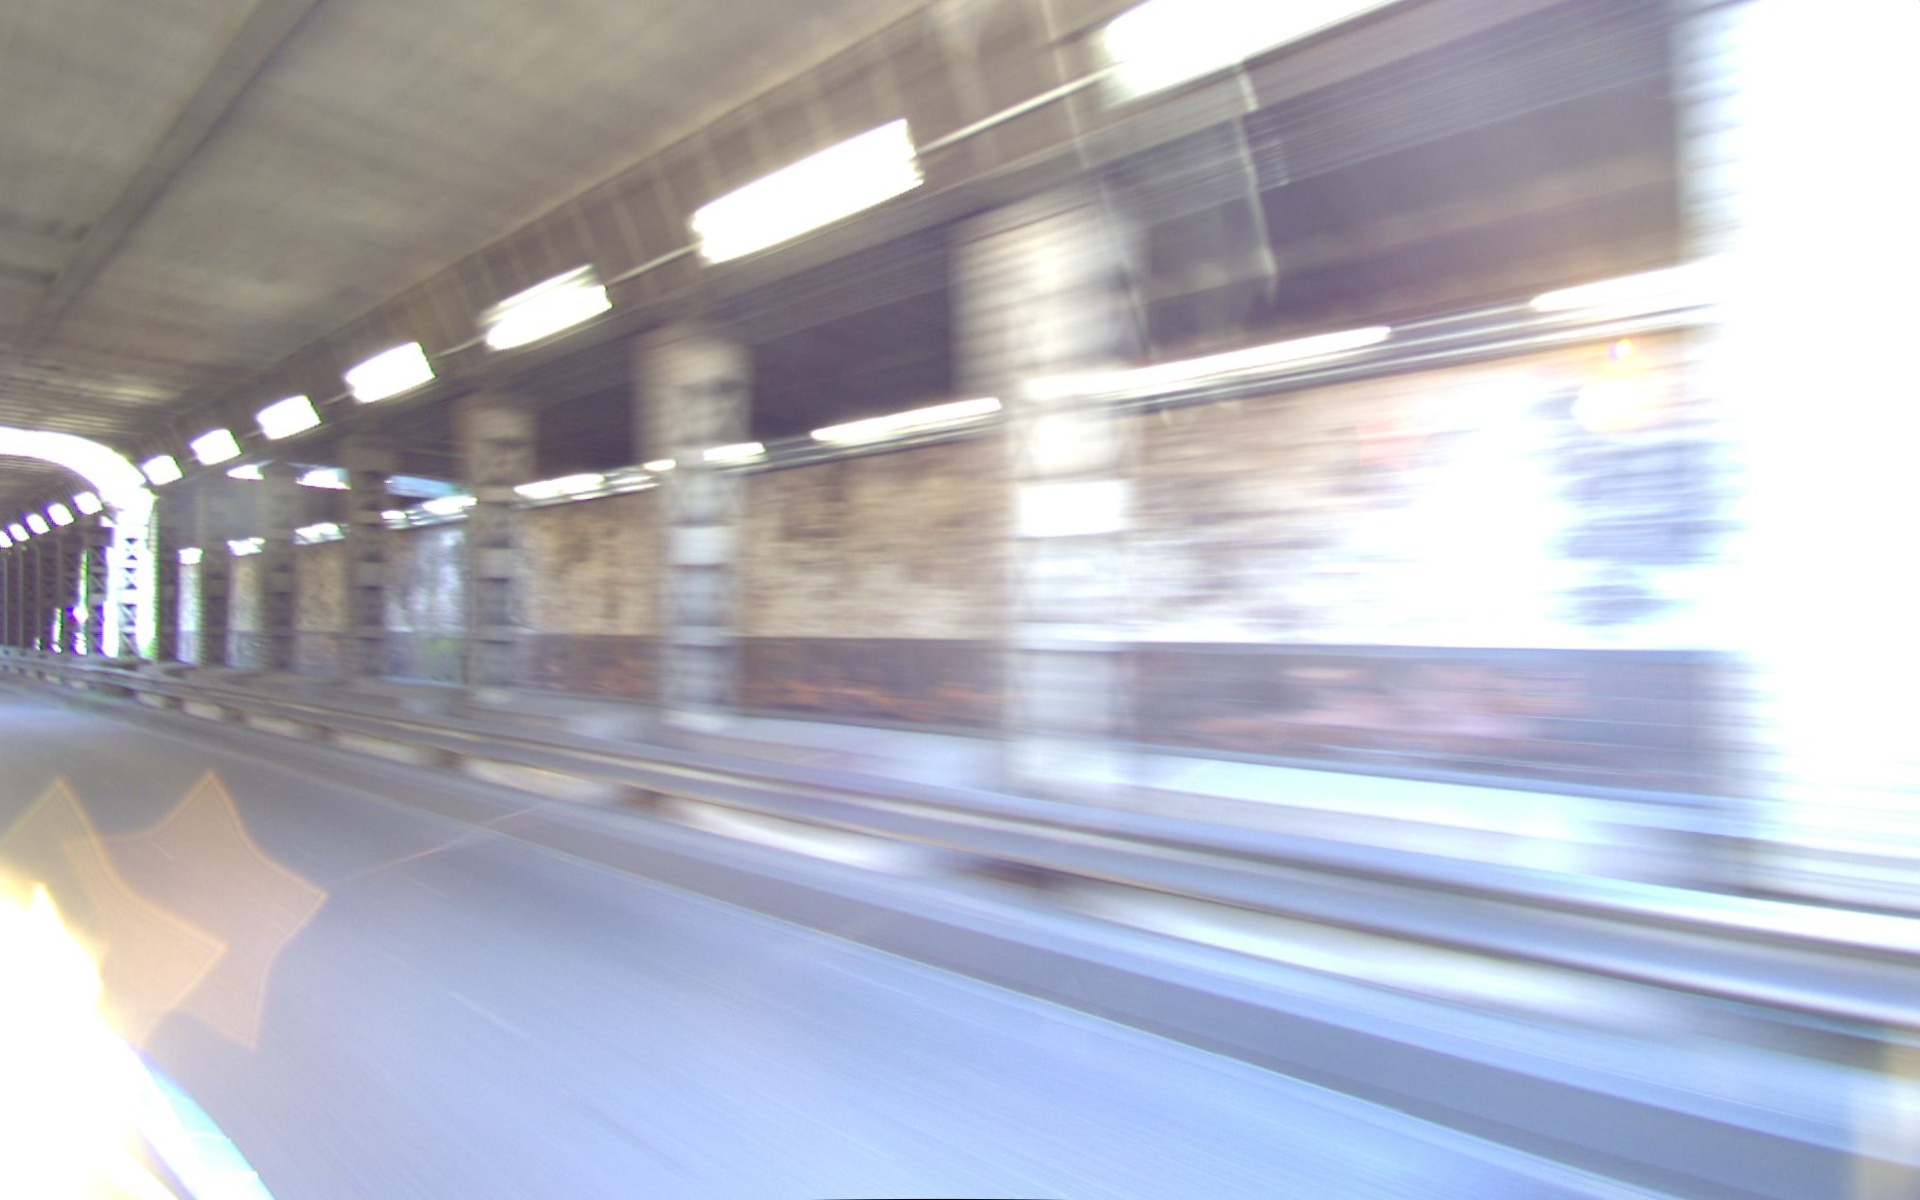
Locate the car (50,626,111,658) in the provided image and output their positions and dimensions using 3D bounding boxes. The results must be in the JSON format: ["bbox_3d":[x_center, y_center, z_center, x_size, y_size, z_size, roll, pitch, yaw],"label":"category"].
[{"bbox_3d":[-46.631,2.207,53.731,1.924,1.529,4.398,3,-3,-35],"label":"car"}]
